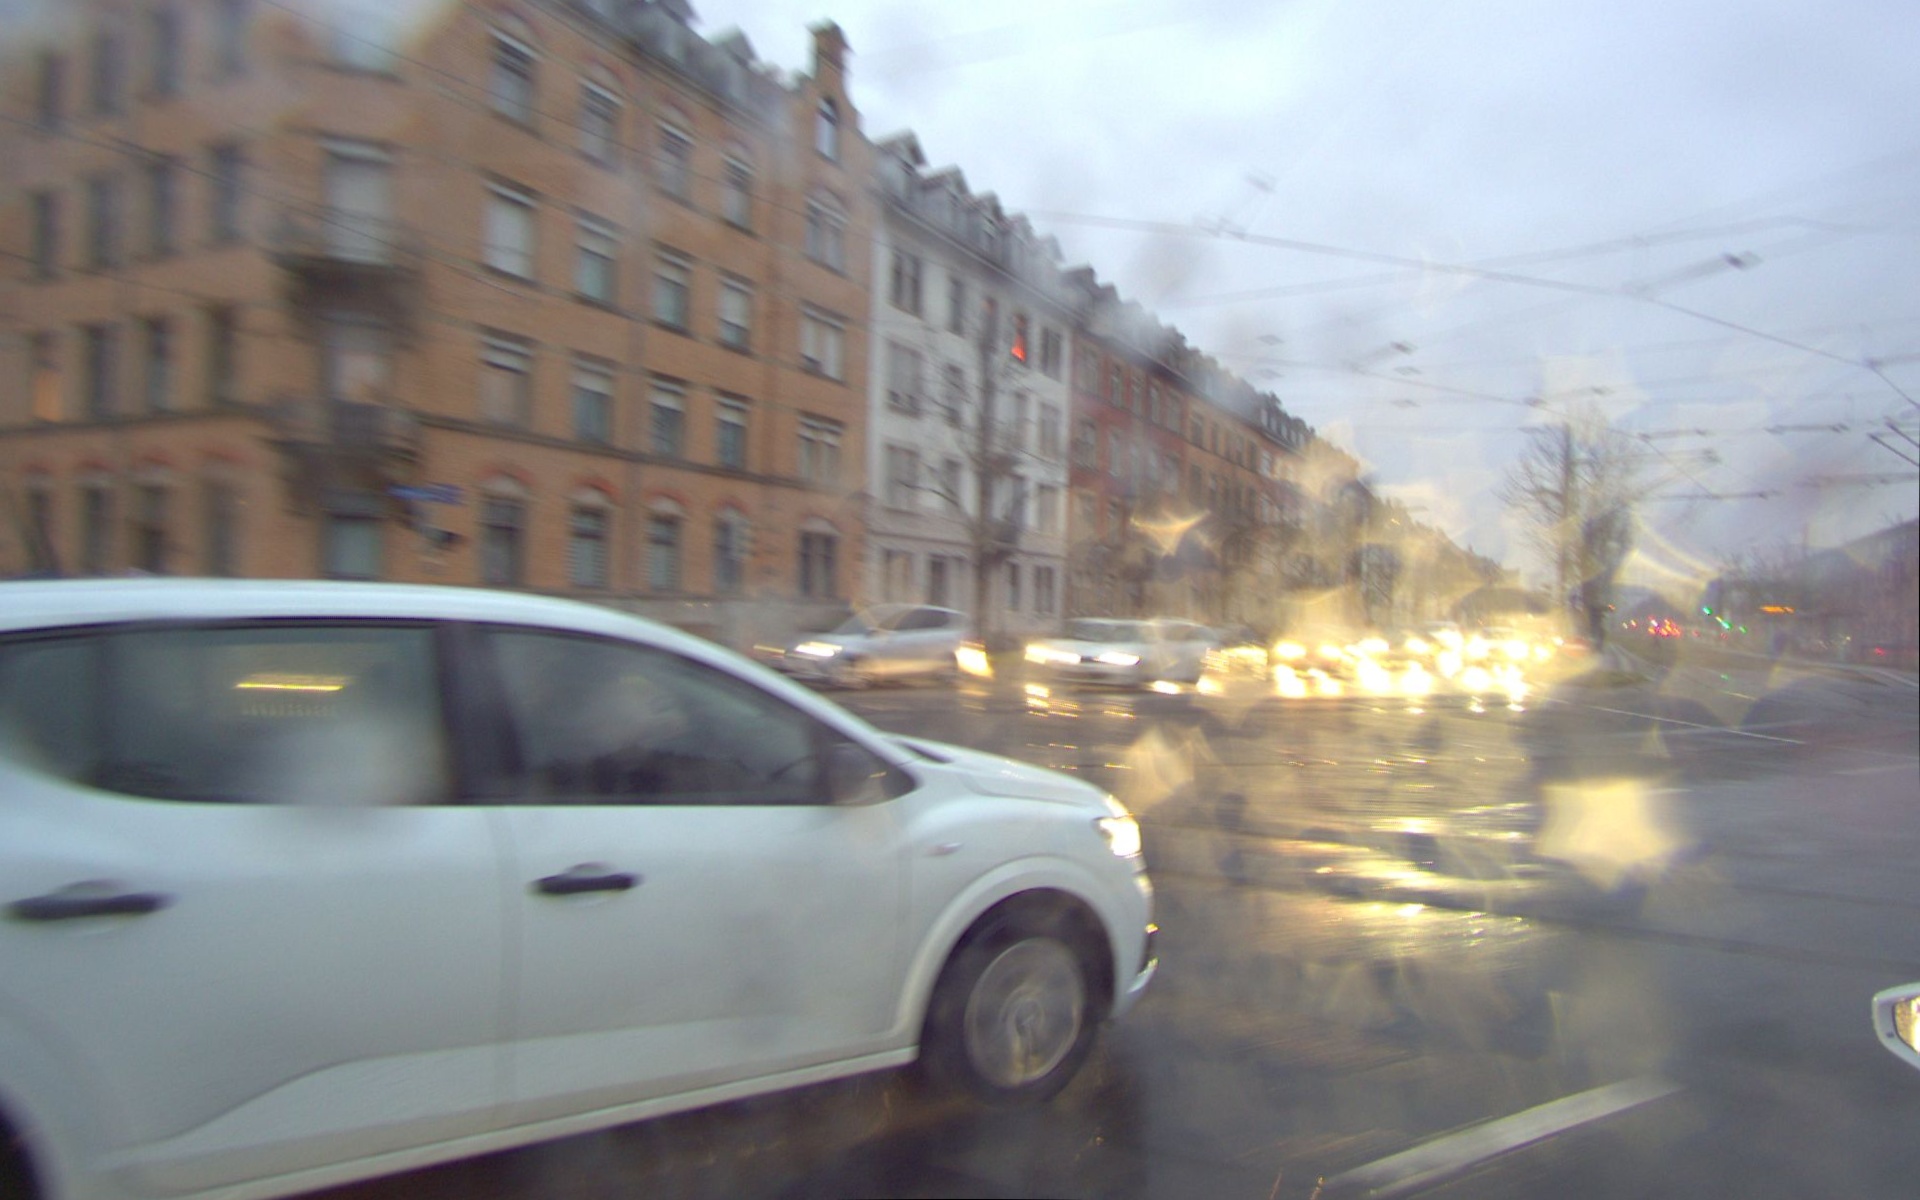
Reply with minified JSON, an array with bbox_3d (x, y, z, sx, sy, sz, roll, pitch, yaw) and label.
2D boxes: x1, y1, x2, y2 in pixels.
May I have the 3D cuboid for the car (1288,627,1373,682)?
[{"bbox_3d":[11.173,1.603,30.183,1.469,1.506,3.139,1,-1,39],"label":"car"}]

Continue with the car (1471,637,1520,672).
[{"bbox_3d":[21.971,2.204,41.172,1.515,1.262,4.078,0,-1,32],"label":"car"}]

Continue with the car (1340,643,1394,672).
[{"bbox_3d":[19.604,2.724,48.260,1.516,1.243,4.074,0,-1,35],"label":"car"}]

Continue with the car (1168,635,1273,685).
[{"bbox_3d":[8.108,1.793,30.984,1.658,1.372,4.372,1,-1,36],"label":"car"}]

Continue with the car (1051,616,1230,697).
[{"bbox_3d":[3.856,1.129,20.945,1.661,1.476,4.311,1,-1,42],"label":"car"}]

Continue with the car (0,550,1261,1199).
[{"bbox_3d":[-1.075,0.687,3.084,3.955,1.507,1.618,1,-1,-31],"label":"car"}]

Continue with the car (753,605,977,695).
[{"bbox_3d":[-1.728,0.922,19.352,1.662,1.545,4.202,1,-1,44],"label":"car"}]

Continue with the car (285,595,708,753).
[{"bbox_3d":[-5.091,0.748,11.400,4.035,1.476,1.664,2,-1,-44],"label":"car"}]

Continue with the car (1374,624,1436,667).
[{"bbox_3d":[17.633,1.769,39.729,1.656,1.573,4.112,1,-1,32],"label":"car"}]

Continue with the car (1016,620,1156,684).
[{"bbox_3d":[3.153,1.244,24.667,1.661,1.410,3.595,1,-1,42],"label":"car"}]

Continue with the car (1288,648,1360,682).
[{"bbox_3d":[14.354,2.525,39.549,1.580,1.149,3.774,1,-1,38],"label":"car"}]
